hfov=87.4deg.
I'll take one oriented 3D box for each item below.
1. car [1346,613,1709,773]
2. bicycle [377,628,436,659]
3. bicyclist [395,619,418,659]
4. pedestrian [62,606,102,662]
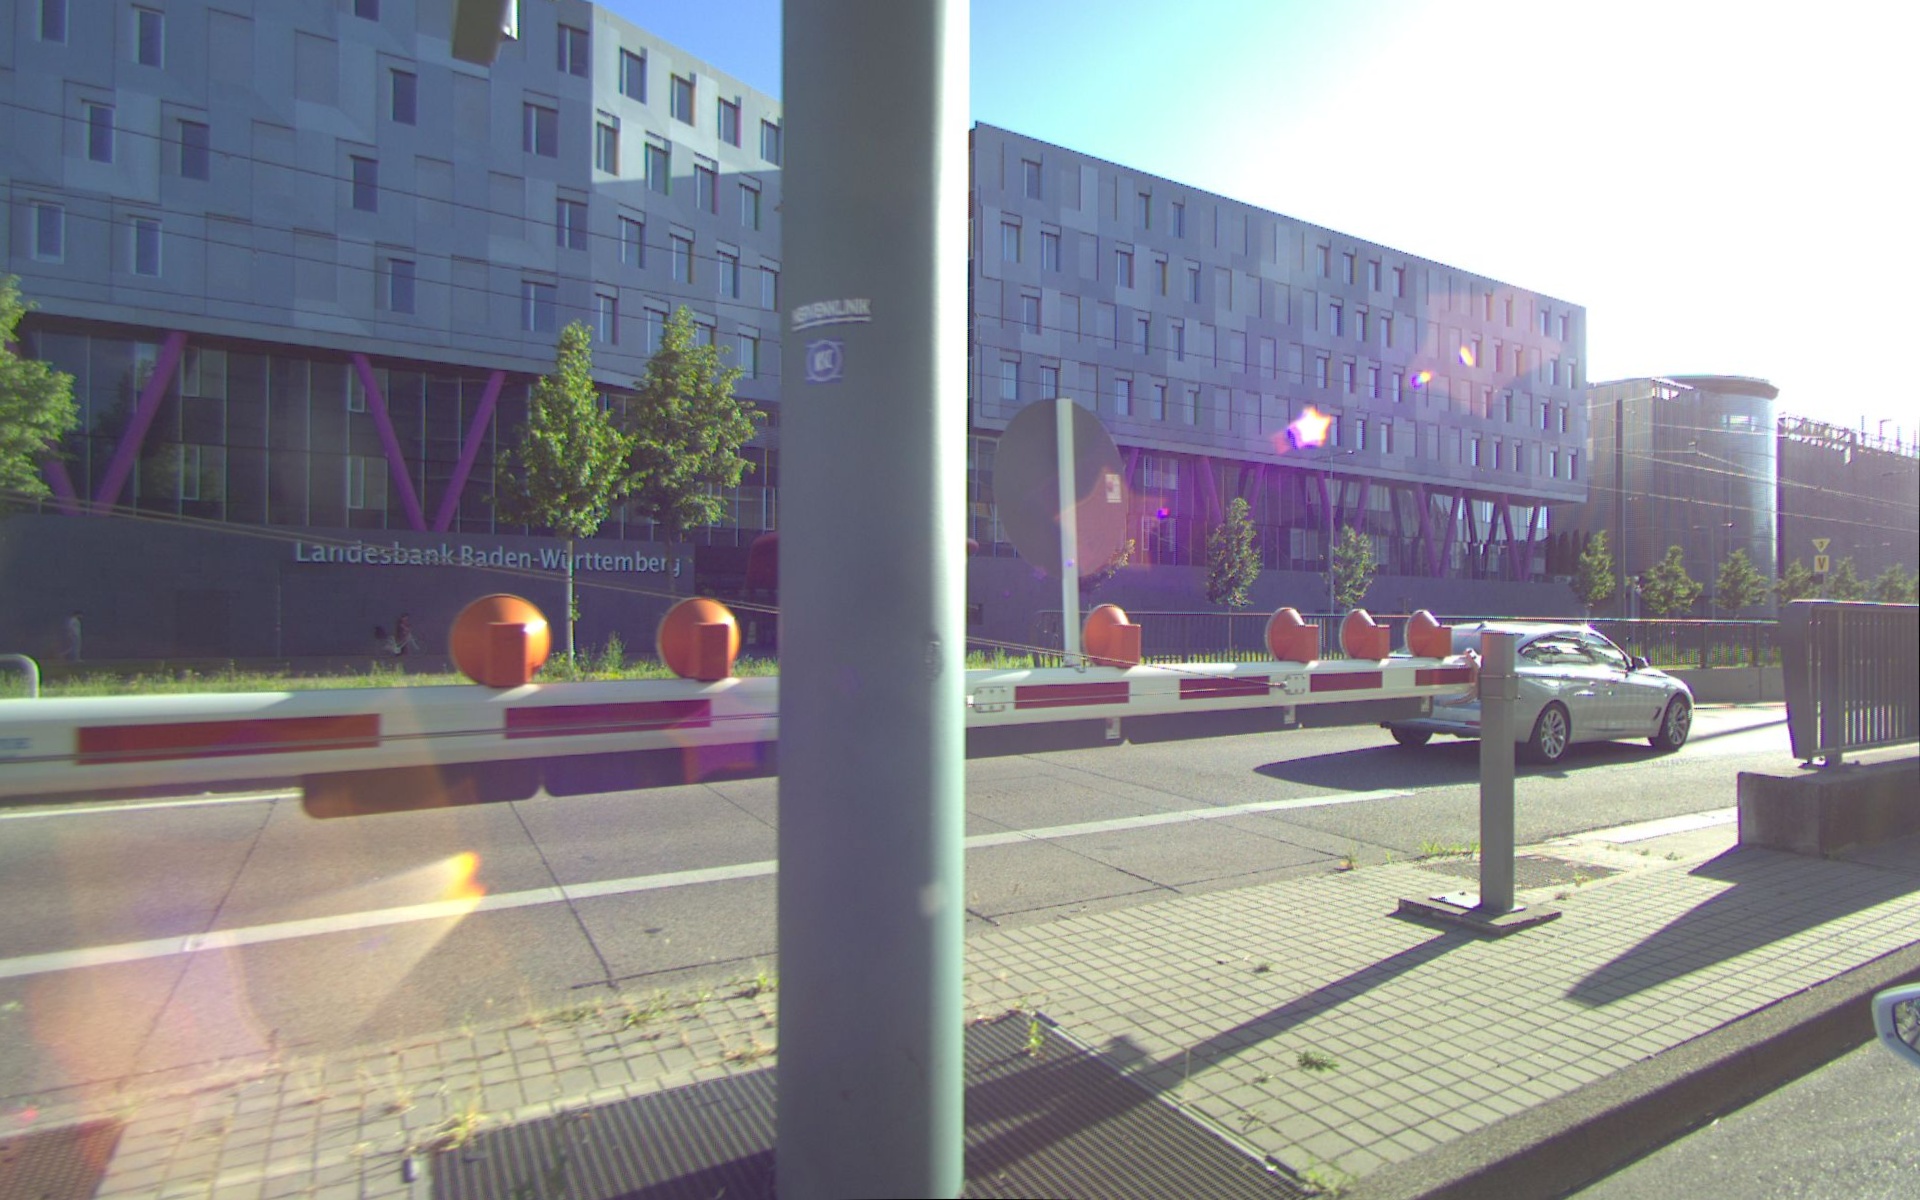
[{"bbox_3d":[6.957,0.982,12.132,4.858,1.547,1.788,1,1,-33],"label":"car"},{"bbox_3d":[-21.050,1.645,38.222,1.952,1.188,0.517,1,-1,-30],"label":"bicycle"},{"bbox_3d":[-21.248,1.485,38.589,0.754,1.515,0.556,1,-1,-30],"label":"bicyclist"},{"bbox_3d":[-29.275,1.118,33.510,0.861,1.846,0.717,1,-1,-29],"label":"pedestrian"}]
